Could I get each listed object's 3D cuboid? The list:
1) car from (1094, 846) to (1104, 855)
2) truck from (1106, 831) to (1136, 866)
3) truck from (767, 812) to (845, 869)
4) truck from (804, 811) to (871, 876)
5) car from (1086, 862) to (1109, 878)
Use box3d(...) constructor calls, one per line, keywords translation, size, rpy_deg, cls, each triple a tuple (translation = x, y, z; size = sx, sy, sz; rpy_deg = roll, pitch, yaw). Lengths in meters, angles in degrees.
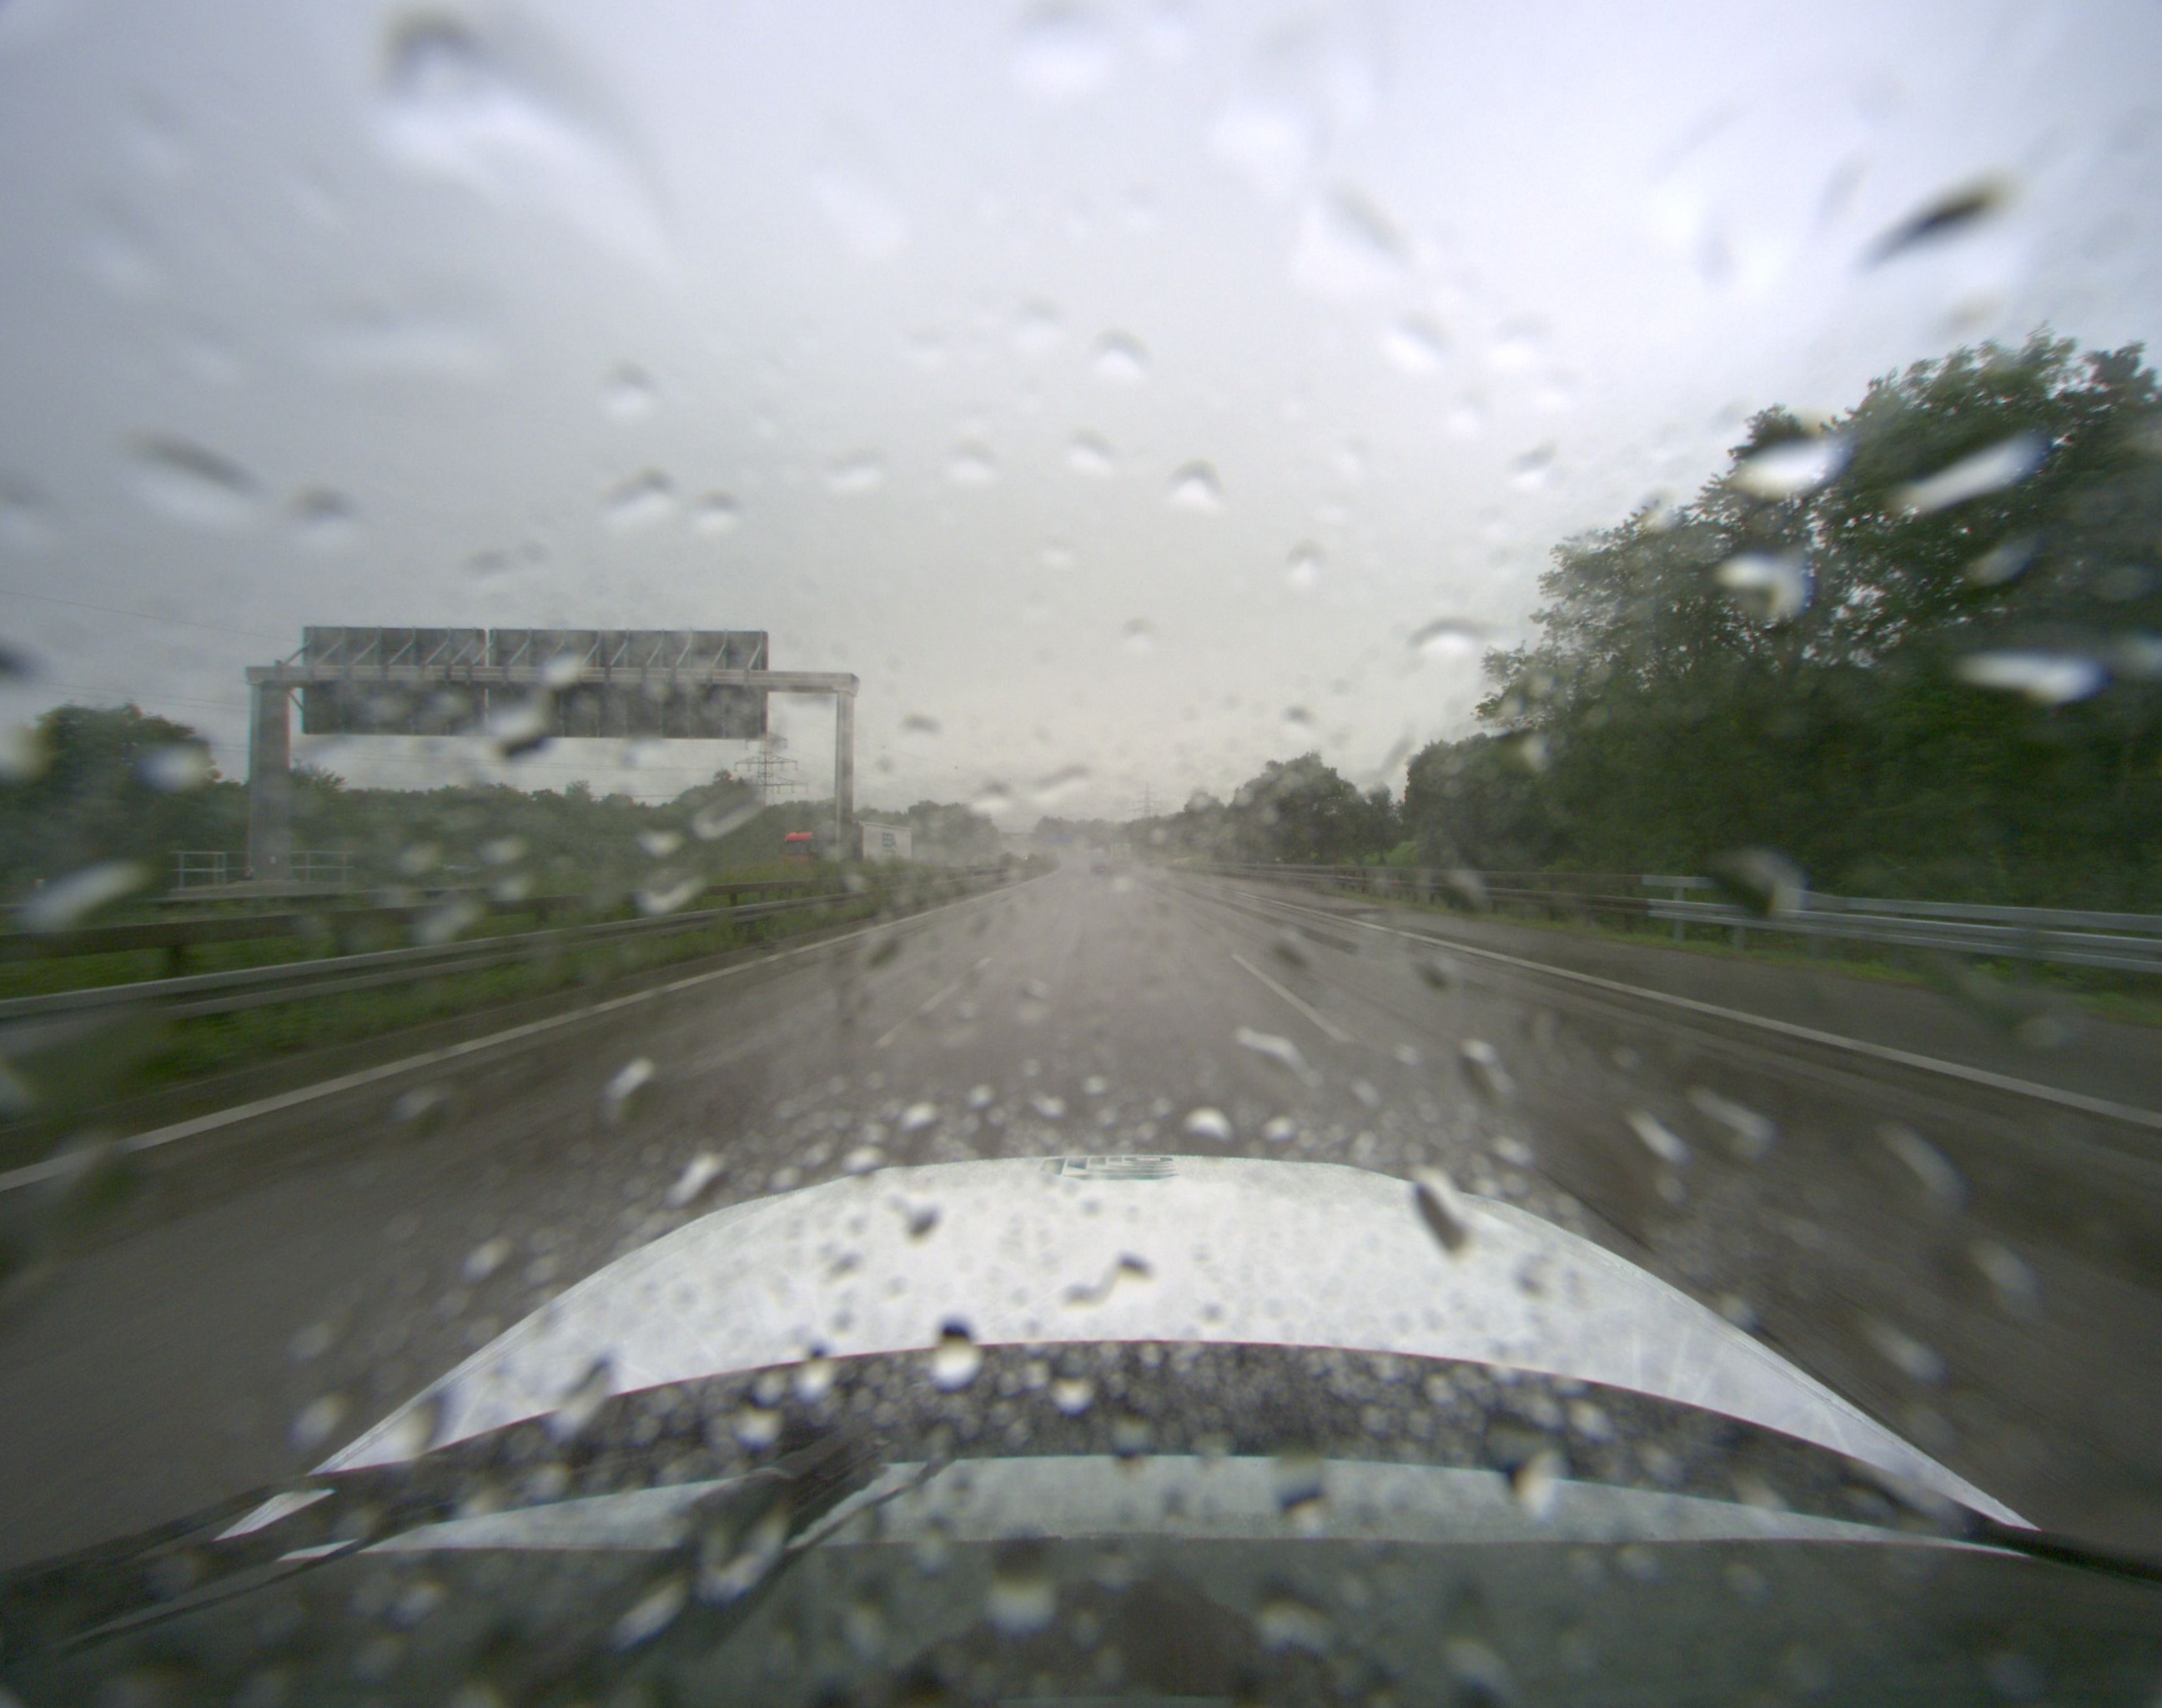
box3d(translation=(4.743, -1.050, 215.098), size=(2.387, 2.272, 4.998), rpy_deg=(1, 1, -2), cls="car")
box3d(translation=(6.303, -0.850, 126.492), size=(4.238, 4.972, 17.356), rpy_deg=(-1, 0, 3), cls="truck")
box3d(translation=(-19.497, -0.893, 58.289), size=(2.896, 3.720, 6.513), rpy_deg=(3, 0, 3), cls="truck")
box3d(translation=(-14.877, -0.619, 50.056), size=(2.348, 3.708, 4.740), rpy_deg=(3, 0, 2), cls="truck")
box3d(translation=(1.435, 1.358, 69.176), size=(1.741, 1.212, 4.004), rpy_deg=(2, 0, 4), cls="car")
